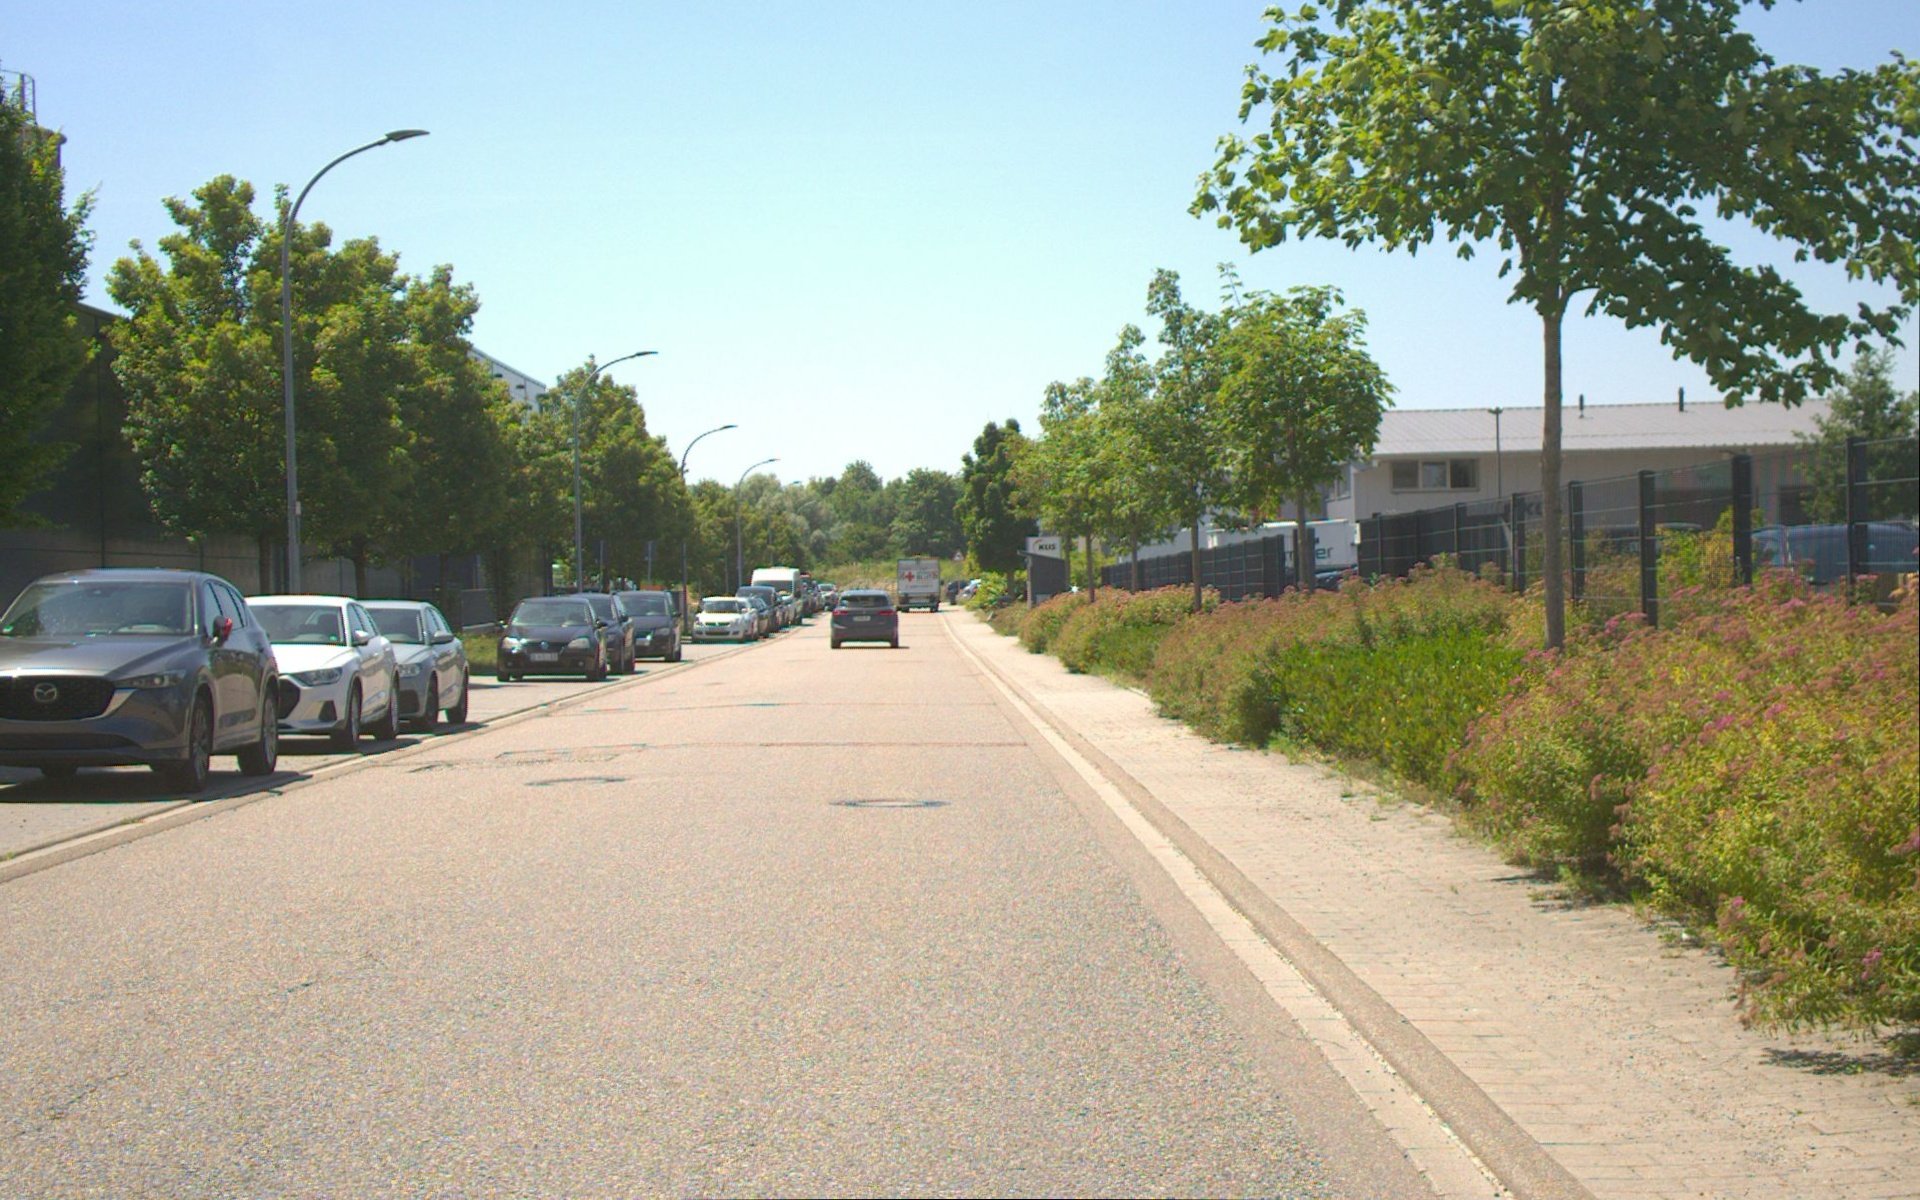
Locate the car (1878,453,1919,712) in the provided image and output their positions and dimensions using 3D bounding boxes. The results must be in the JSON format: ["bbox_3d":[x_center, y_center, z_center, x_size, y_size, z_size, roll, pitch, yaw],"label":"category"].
[{"bbox_3d":[8.668,-0.172,26.576,1.876,2.080,4.226,-2,0,-1],"label":"car"}]

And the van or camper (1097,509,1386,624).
[{"bbox_3d":[6.837,-0.815,84.125,6.757,2.576,2.636,-2,0,-1],"label":"van or camper"}]

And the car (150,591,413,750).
[{"bbox_3d":[-6.544,0.654,33.568,1.771,1.426,4.201,-1,0,-1],"label":"car"}]

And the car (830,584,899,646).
[{"bbox_3d":[-2.553,0.405,92.902,1.789,1.618,3.809,1,0,-1],"label":"car"}]

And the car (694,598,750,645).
[{"bbox_3d":[-7.679,0.678,111.202,1.720,1.471,3.858,0,0,-3],"label":"car"}]

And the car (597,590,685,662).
[{"bbox_3d":[-7.313,0.590,79.170,1.770,1.606,4.247,0,0,-2],"label":"car"}]

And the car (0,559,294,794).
[{"bbox_3d":[-6.386,0.542,26.208,1.771,1.618,4.582,-1,0,-1],"label":"car"}]

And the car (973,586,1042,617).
[{"bbox_3d":[2.764,0.074,199.109,3.875,1.744,1.752,1,0,-3],"label":"car"}]

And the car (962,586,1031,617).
[{"bbox_3d":[2.132,0.070,201.370,3.875,1.744,1.752,1,0,-3],"label":"car"}]

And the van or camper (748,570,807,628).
[{"bbox_3d":[-8.098,-0.027,152.958,2.078,2.475,6.130,1,0,2],"label":"van or camper"}]

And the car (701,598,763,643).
[{"bbox_3d":[-7.690,0.693,116.464,1.799,1.471,4.554,0,0,0],"label":"car"}]

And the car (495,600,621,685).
[{"bbox_3d":[-7.078,0.730,60.874,1.771,1.426,4.201,-1,0,-1],"label":"car"}]

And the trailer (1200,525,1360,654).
[{"bbox_3d":[6.296,-0.204,67.778,2.822,2.395,1.420,-3,0,-5],"label":"trailer"}]

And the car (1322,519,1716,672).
[{"bbox_3d":[7.777,-0.063,48.157,5.113,1.867,1.903,-3,0,-1],"label":"car"}]

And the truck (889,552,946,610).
[{"bbox_3d":[-2.253,-0.989,183.648,2.933,2.964,6.419,1,0,0],"label":"truck"}]

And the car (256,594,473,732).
[{"bbox_3d":[-6.560,0.667,38.234,1.771,1.426,3.940,-1,0,-1],"label":"car"}]
